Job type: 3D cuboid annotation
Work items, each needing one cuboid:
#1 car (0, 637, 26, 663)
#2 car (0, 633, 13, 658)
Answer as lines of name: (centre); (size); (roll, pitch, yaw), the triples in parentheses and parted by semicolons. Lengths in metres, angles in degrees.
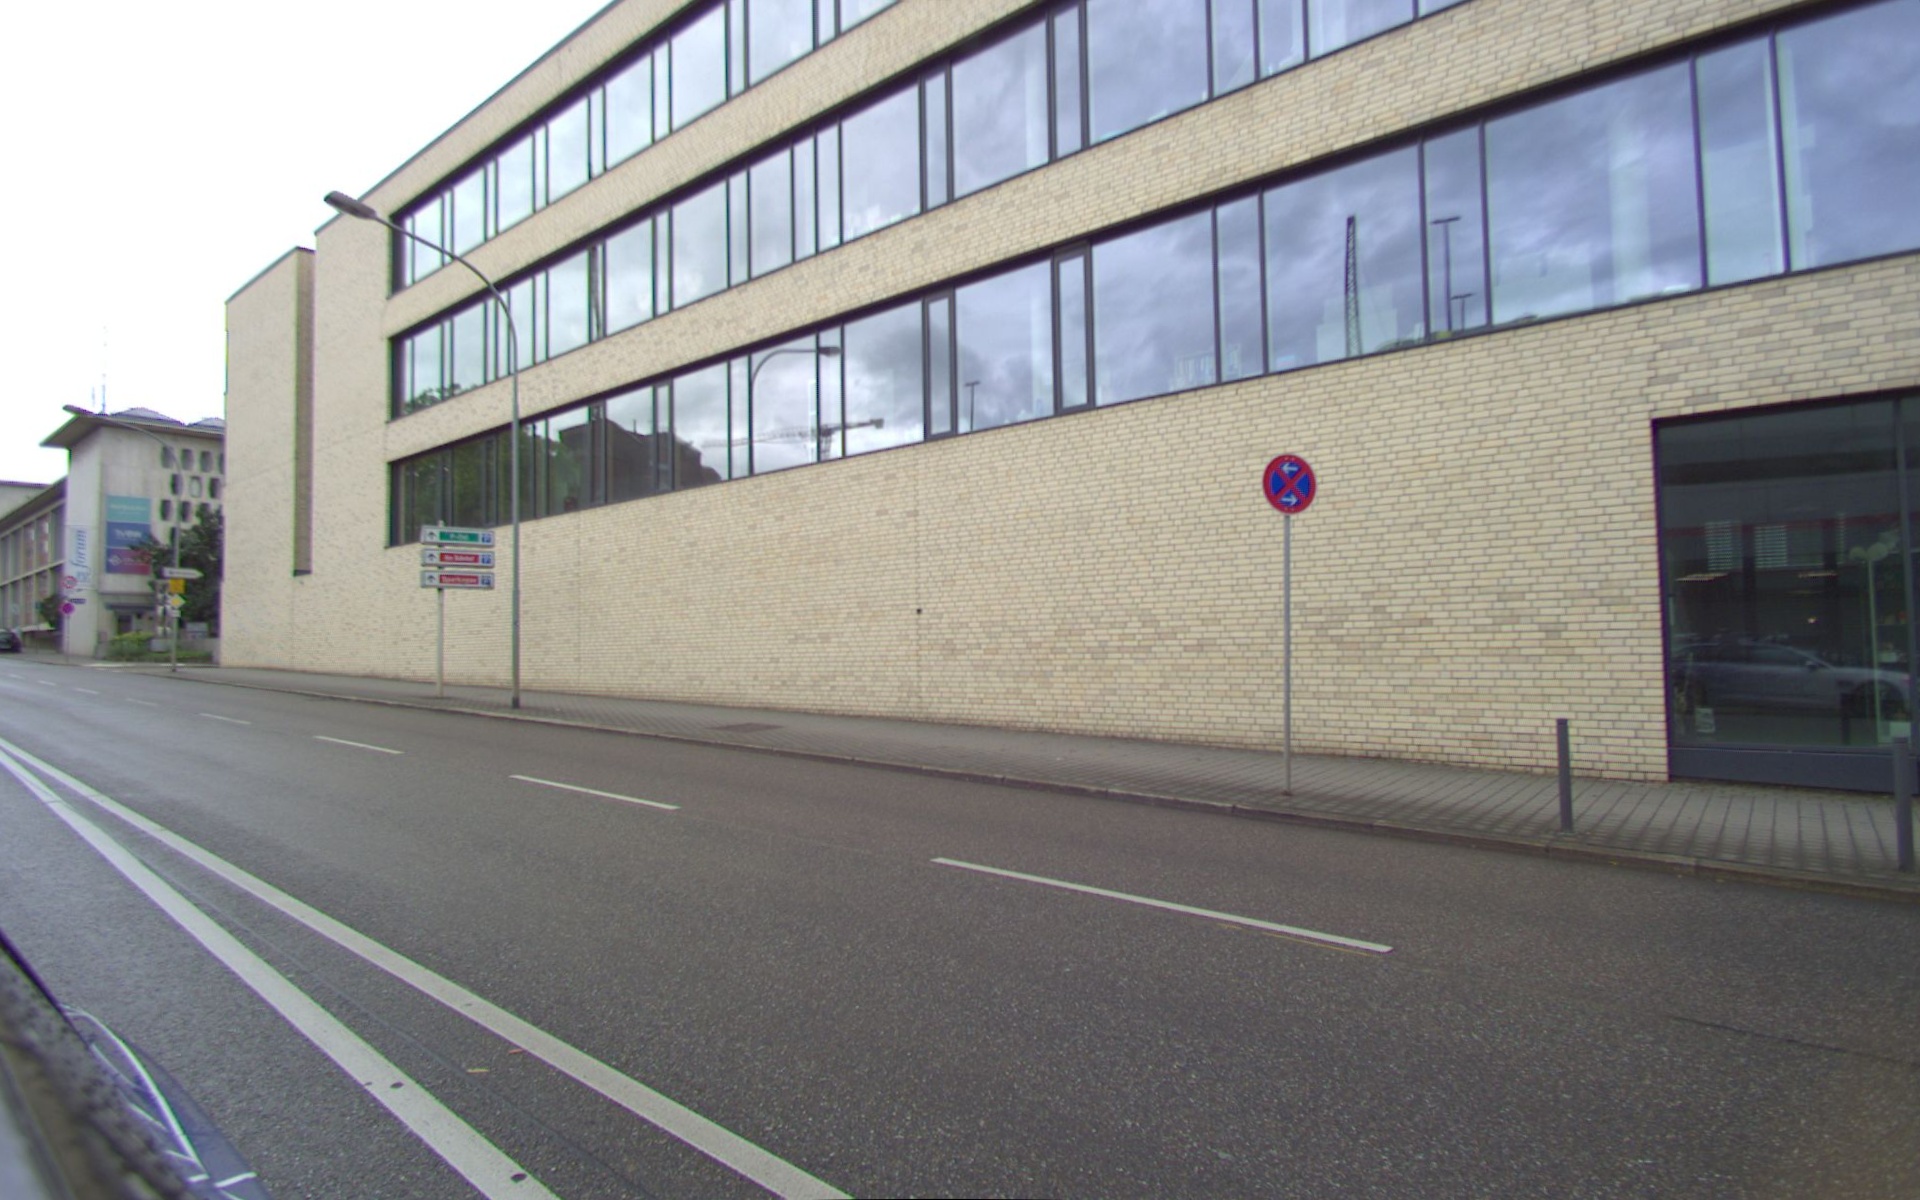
car: (-62.546, 3.229, 65.927); (3.996, 1.541, 1.974); (-1, 0, 40)
car: (-66.554, 3.129, 69.349); (3.997, 1.654, 1.973); (-1, 0, 40)
